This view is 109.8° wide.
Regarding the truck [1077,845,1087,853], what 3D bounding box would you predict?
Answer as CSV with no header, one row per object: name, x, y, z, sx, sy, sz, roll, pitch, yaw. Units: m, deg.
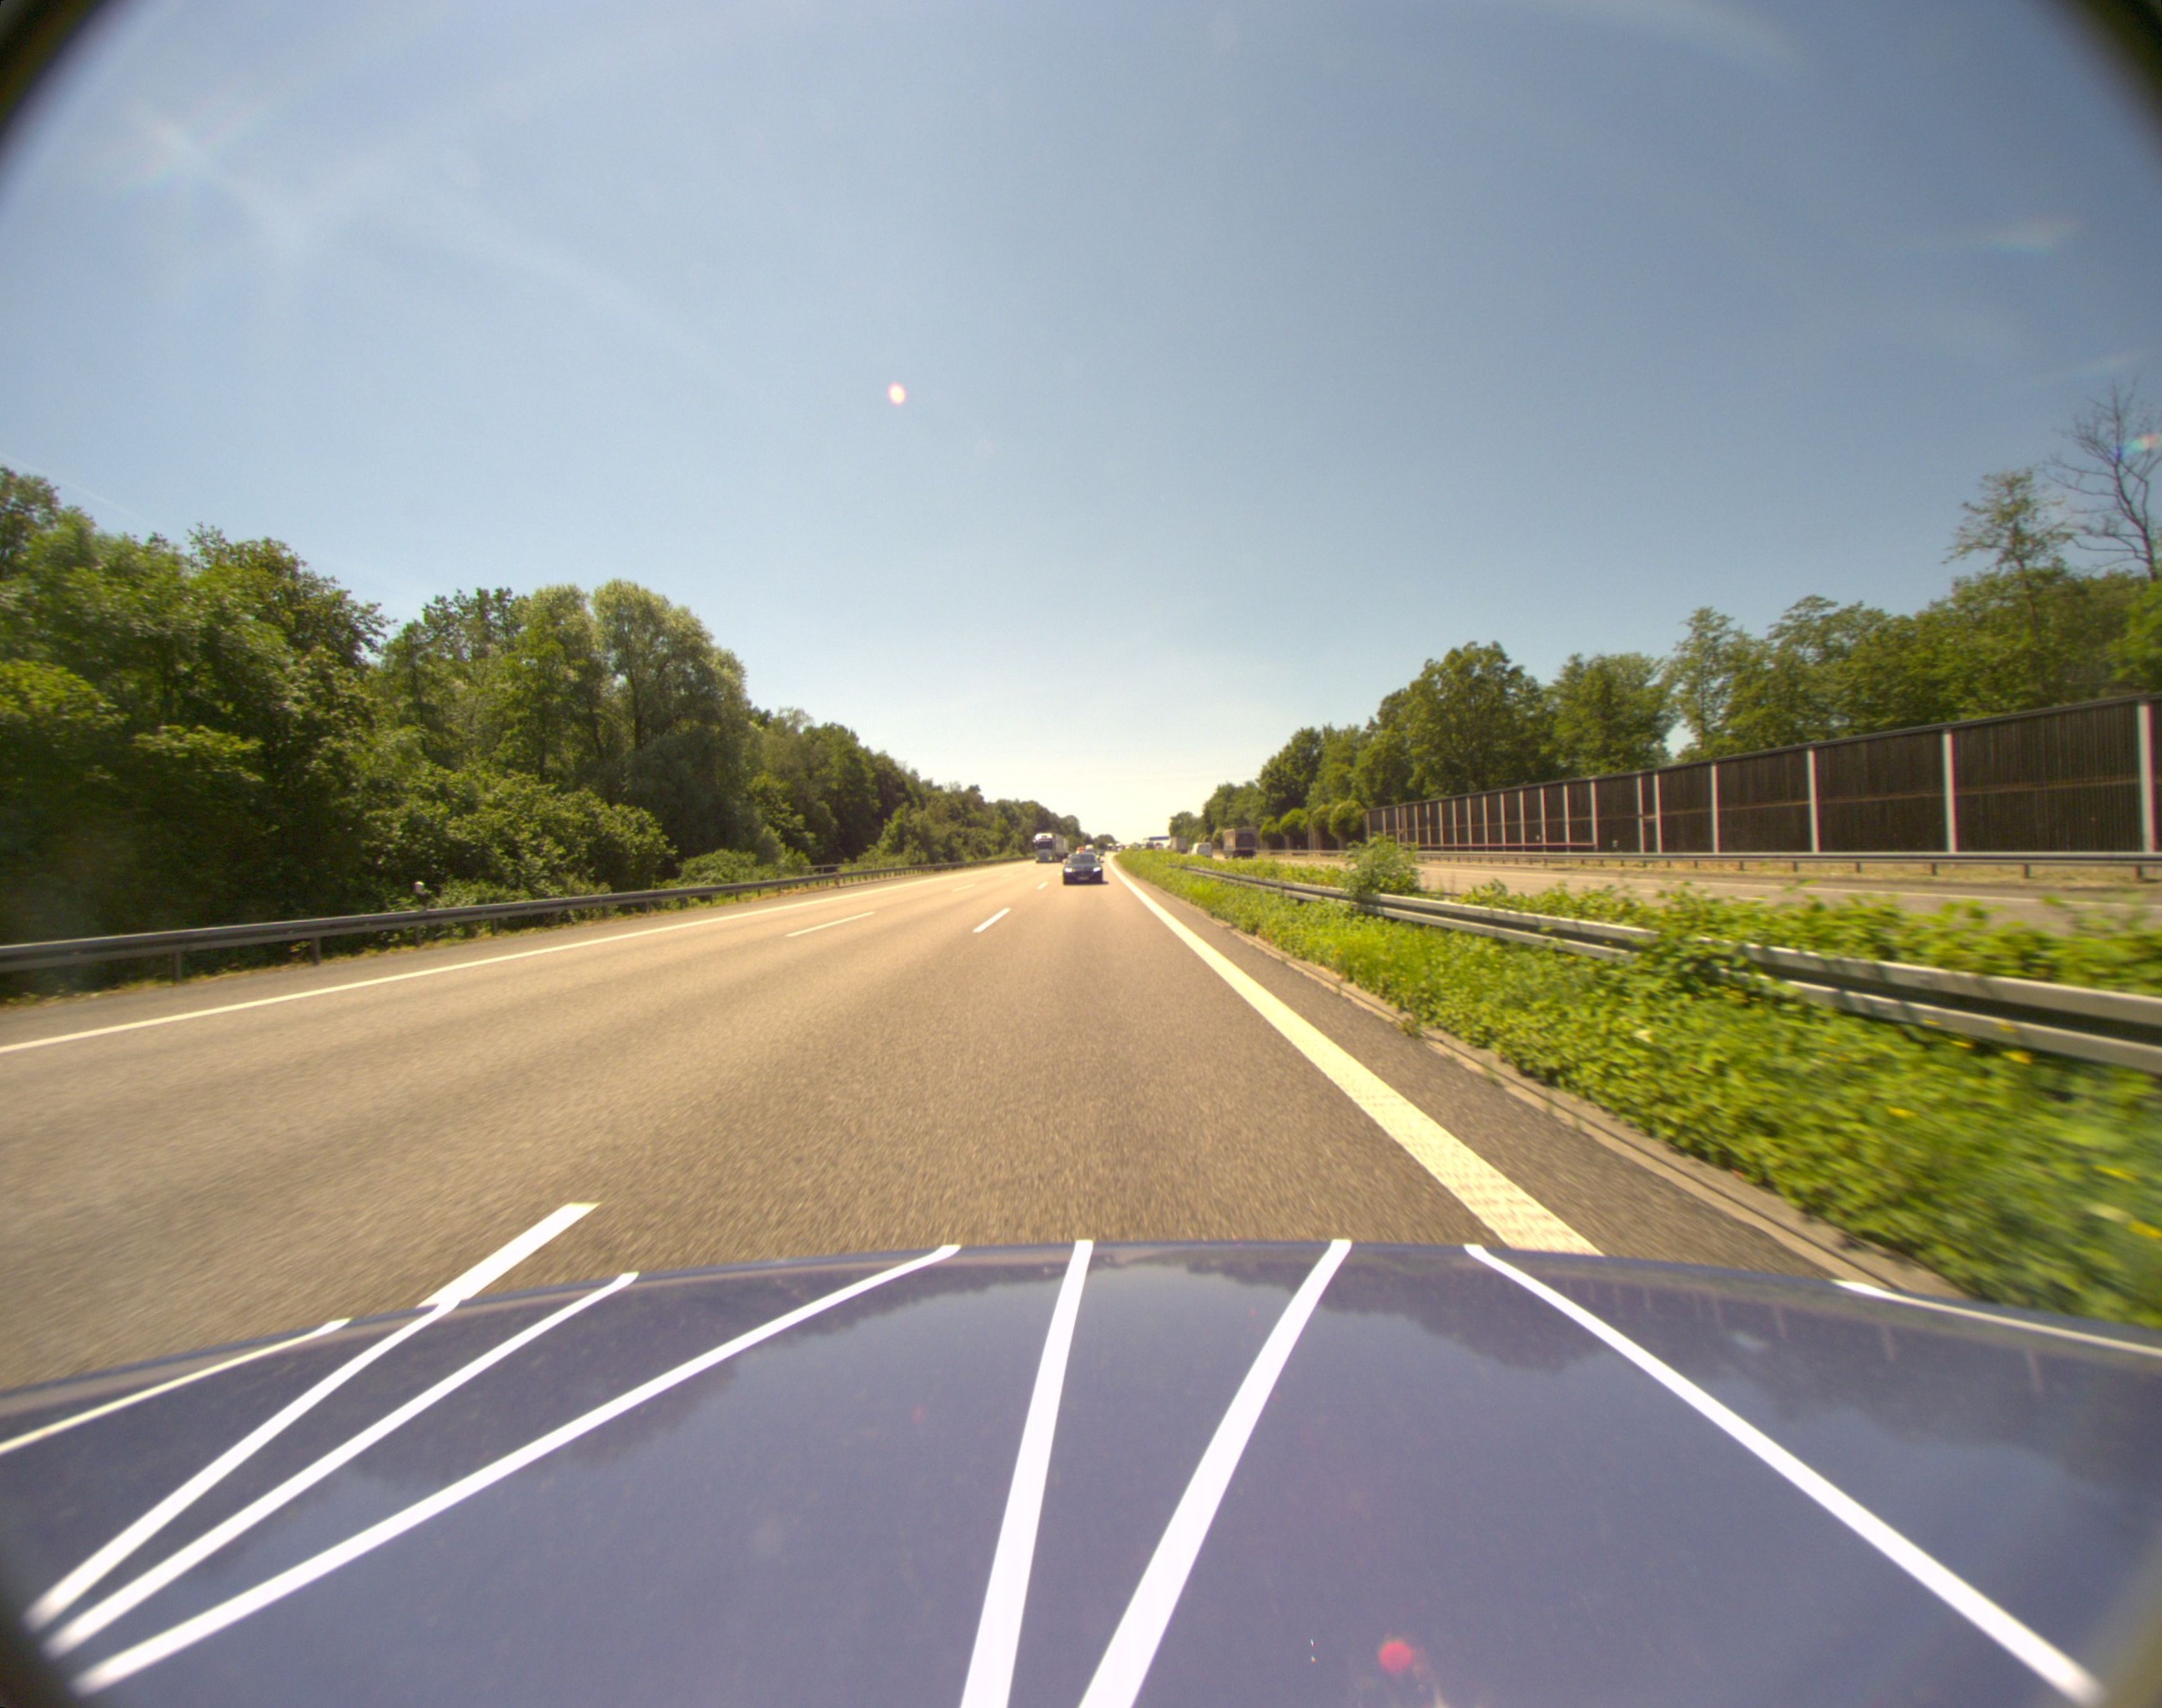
truck,0.296,-1.473,222.112,2.436,2.426,10.010,-2,0,3

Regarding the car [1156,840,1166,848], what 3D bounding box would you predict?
car,19.098,-2.430,181.201,1.872,1.809,4.817,-2,1,2

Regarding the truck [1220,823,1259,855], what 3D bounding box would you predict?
truck,19.123,-1.797,92.387,2.877,3.584,9.951,-2,1,1

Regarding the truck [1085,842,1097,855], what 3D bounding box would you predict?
truck,2.660,-1.481,199.293,2.859,3.163,10.712,-2,0,1

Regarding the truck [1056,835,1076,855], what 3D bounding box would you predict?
truck,-3.027,-1.855,158.424,3.049,3.947,14.456,-2,0,3

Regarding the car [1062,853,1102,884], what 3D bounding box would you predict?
car,0.061,0.660,37.003,1.800,1.390,4.833,-2,0,0

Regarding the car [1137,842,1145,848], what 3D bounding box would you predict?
car,14.522,-2.176,182.967,1.630,1.382,3.913,-2,1,1

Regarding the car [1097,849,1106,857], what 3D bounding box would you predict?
car,4.617,-0.287,170.069,1.879,1.630,4.000,-2,0,3

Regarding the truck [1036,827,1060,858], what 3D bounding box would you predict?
truck,-4.472,-1.563,104.567,2.729,3.952,6.501,-2,1,2

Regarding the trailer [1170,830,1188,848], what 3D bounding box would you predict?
trailer,22.566,-3.361,175.036,2.736,3.887,13.761,-2,0,2

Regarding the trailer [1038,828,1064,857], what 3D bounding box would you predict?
trailer,-4.243,-1.623,111.447,2.747,3.952,13.654,-2,0,2

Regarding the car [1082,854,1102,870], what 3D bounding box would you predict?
car,1.141,0.794,77.967,1.862,1.614,3.737,-2,0,1

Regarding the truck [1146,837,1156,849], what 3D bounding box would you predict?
truck,19.826,-3.108,214.170,2.199,3.096,8.534,-2,1,2

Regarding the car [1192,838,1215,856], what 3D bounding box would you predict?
car,14.565,-0.825,90.766,1.998,2.002,5.102,-2,1,2
